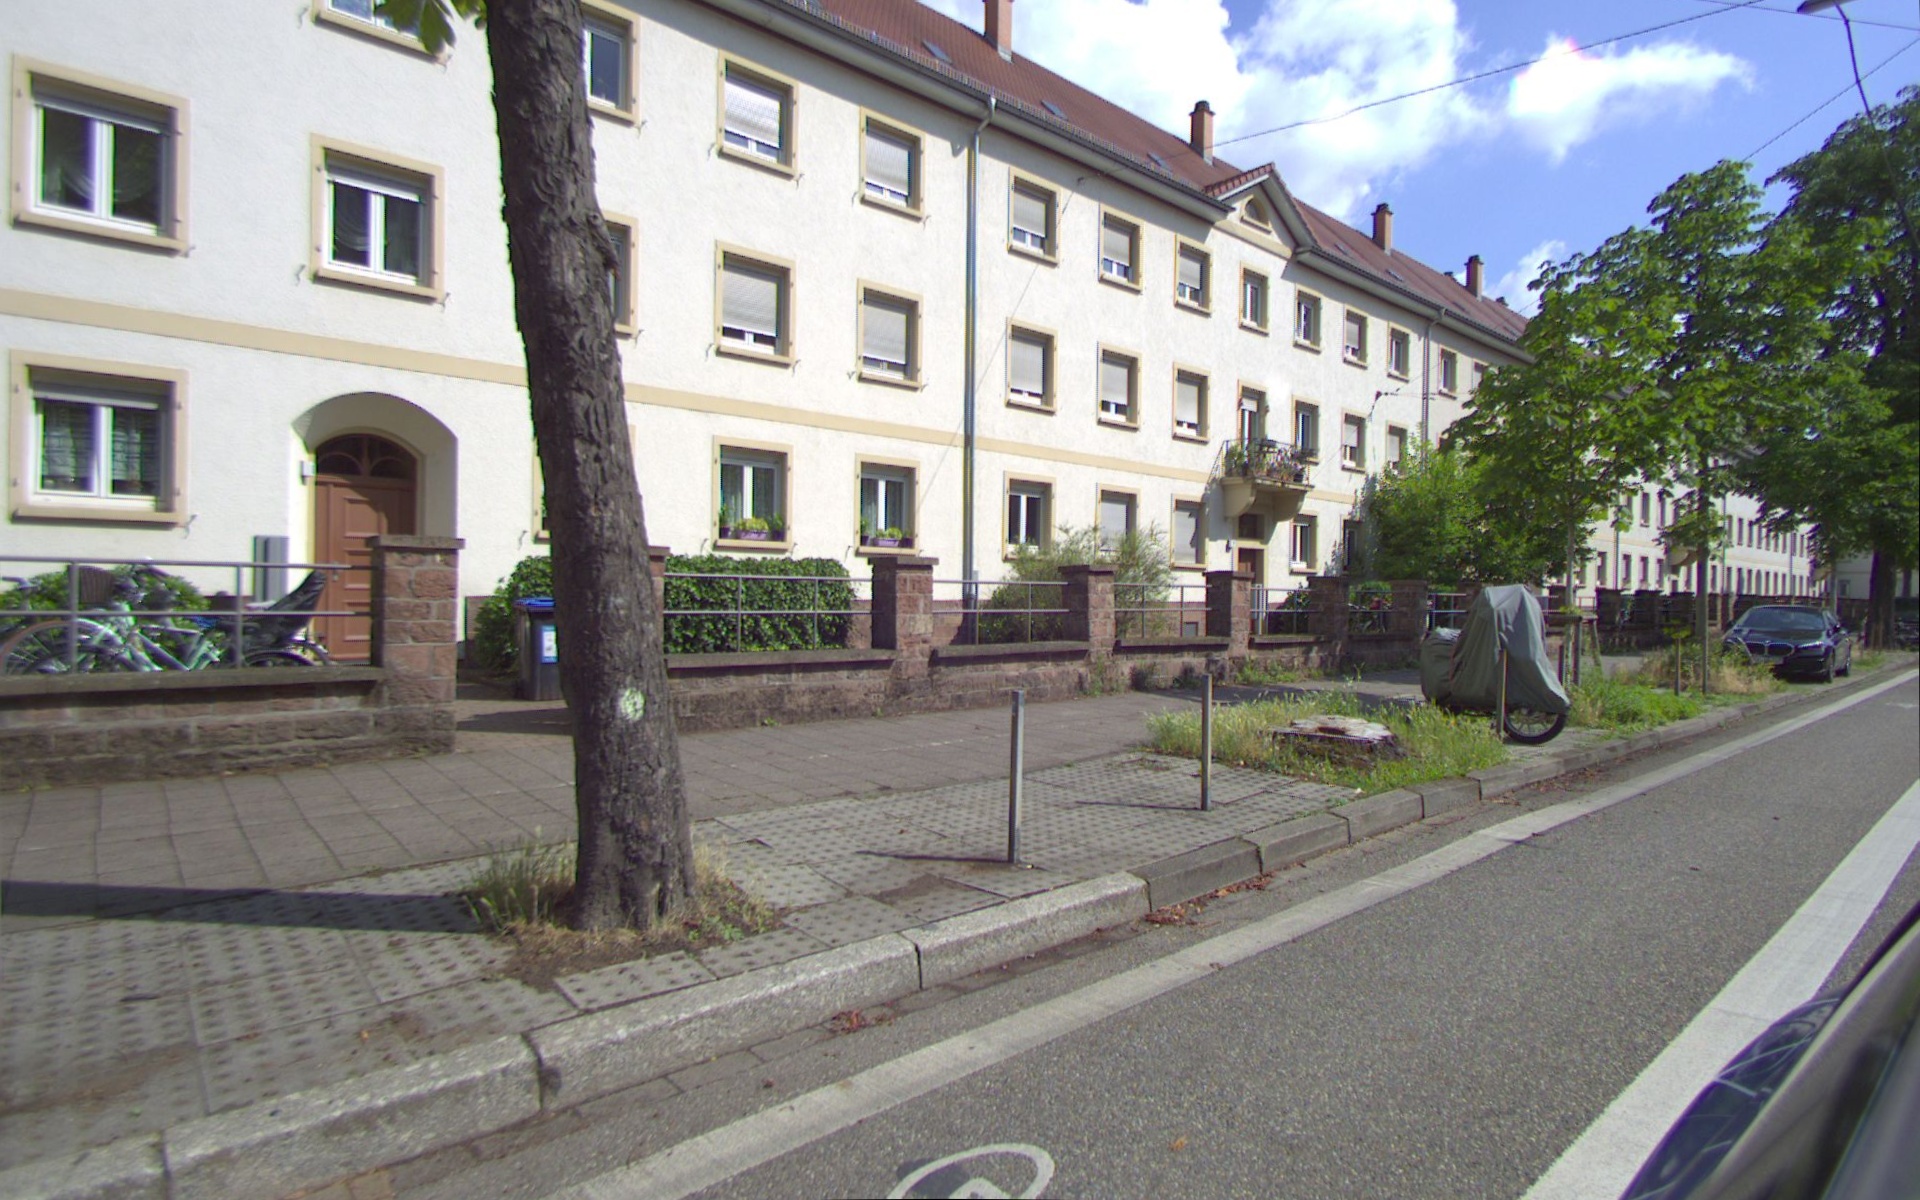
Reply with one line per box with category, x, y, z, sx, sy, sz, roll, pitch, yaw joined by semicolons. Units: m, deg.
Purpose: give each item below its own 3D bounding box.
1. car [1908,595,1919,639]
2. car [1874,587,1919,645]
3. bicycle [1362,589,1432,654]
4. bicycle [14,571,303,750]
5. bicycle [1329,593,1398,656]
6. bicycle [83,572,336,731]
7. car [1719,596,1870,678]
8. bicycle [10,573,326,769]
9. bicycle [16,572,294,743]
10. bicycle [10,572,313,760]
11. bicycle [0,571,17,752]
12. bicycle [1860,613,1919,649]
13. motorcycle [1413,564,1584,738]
car;38.821;0.665;39.796;4.557;1.674;1.865;0;0;-42
car;31.604;0.527;33.270;4.651;1.805;1.830;1;0;-42
bicycle;8.642;0.401;19.972;1.674;1.227;0.600;0;0;-41
bicycle;-5.995;0.413;7.661;1.674;1.227;0.413;0;0;-41
bicycle;8.199;0.476;20.528;1.674;1.227;0.600;0;0;-41
bicycle;-6.279;0.395;8.535;1.674;1.227;0.413;0;0;-41
car;16.910;0.685;20.432;4.124;1.498;1.708;0;-1;-42
bicycle;-5.412;0.441;7.010;1.674;1.227;0.413;0;0;-41
bicycle;-6.272;0.408;7.972;1.674;1.227;0.413;0;0;-41
bicycle;-5.700;0.431;7.317;1.674;1.227;0.413;0;0;-41
bicycle;-7.216;0.414;6.496;1.674;1.227;0.413;0;0;-41
bicycle;28.018;0.923;30.172;0.626;1.020;1.711;1;1;-40
motorcycle;5.589;0.459;10.700;0.666;1.617;2.384;1;1;4
